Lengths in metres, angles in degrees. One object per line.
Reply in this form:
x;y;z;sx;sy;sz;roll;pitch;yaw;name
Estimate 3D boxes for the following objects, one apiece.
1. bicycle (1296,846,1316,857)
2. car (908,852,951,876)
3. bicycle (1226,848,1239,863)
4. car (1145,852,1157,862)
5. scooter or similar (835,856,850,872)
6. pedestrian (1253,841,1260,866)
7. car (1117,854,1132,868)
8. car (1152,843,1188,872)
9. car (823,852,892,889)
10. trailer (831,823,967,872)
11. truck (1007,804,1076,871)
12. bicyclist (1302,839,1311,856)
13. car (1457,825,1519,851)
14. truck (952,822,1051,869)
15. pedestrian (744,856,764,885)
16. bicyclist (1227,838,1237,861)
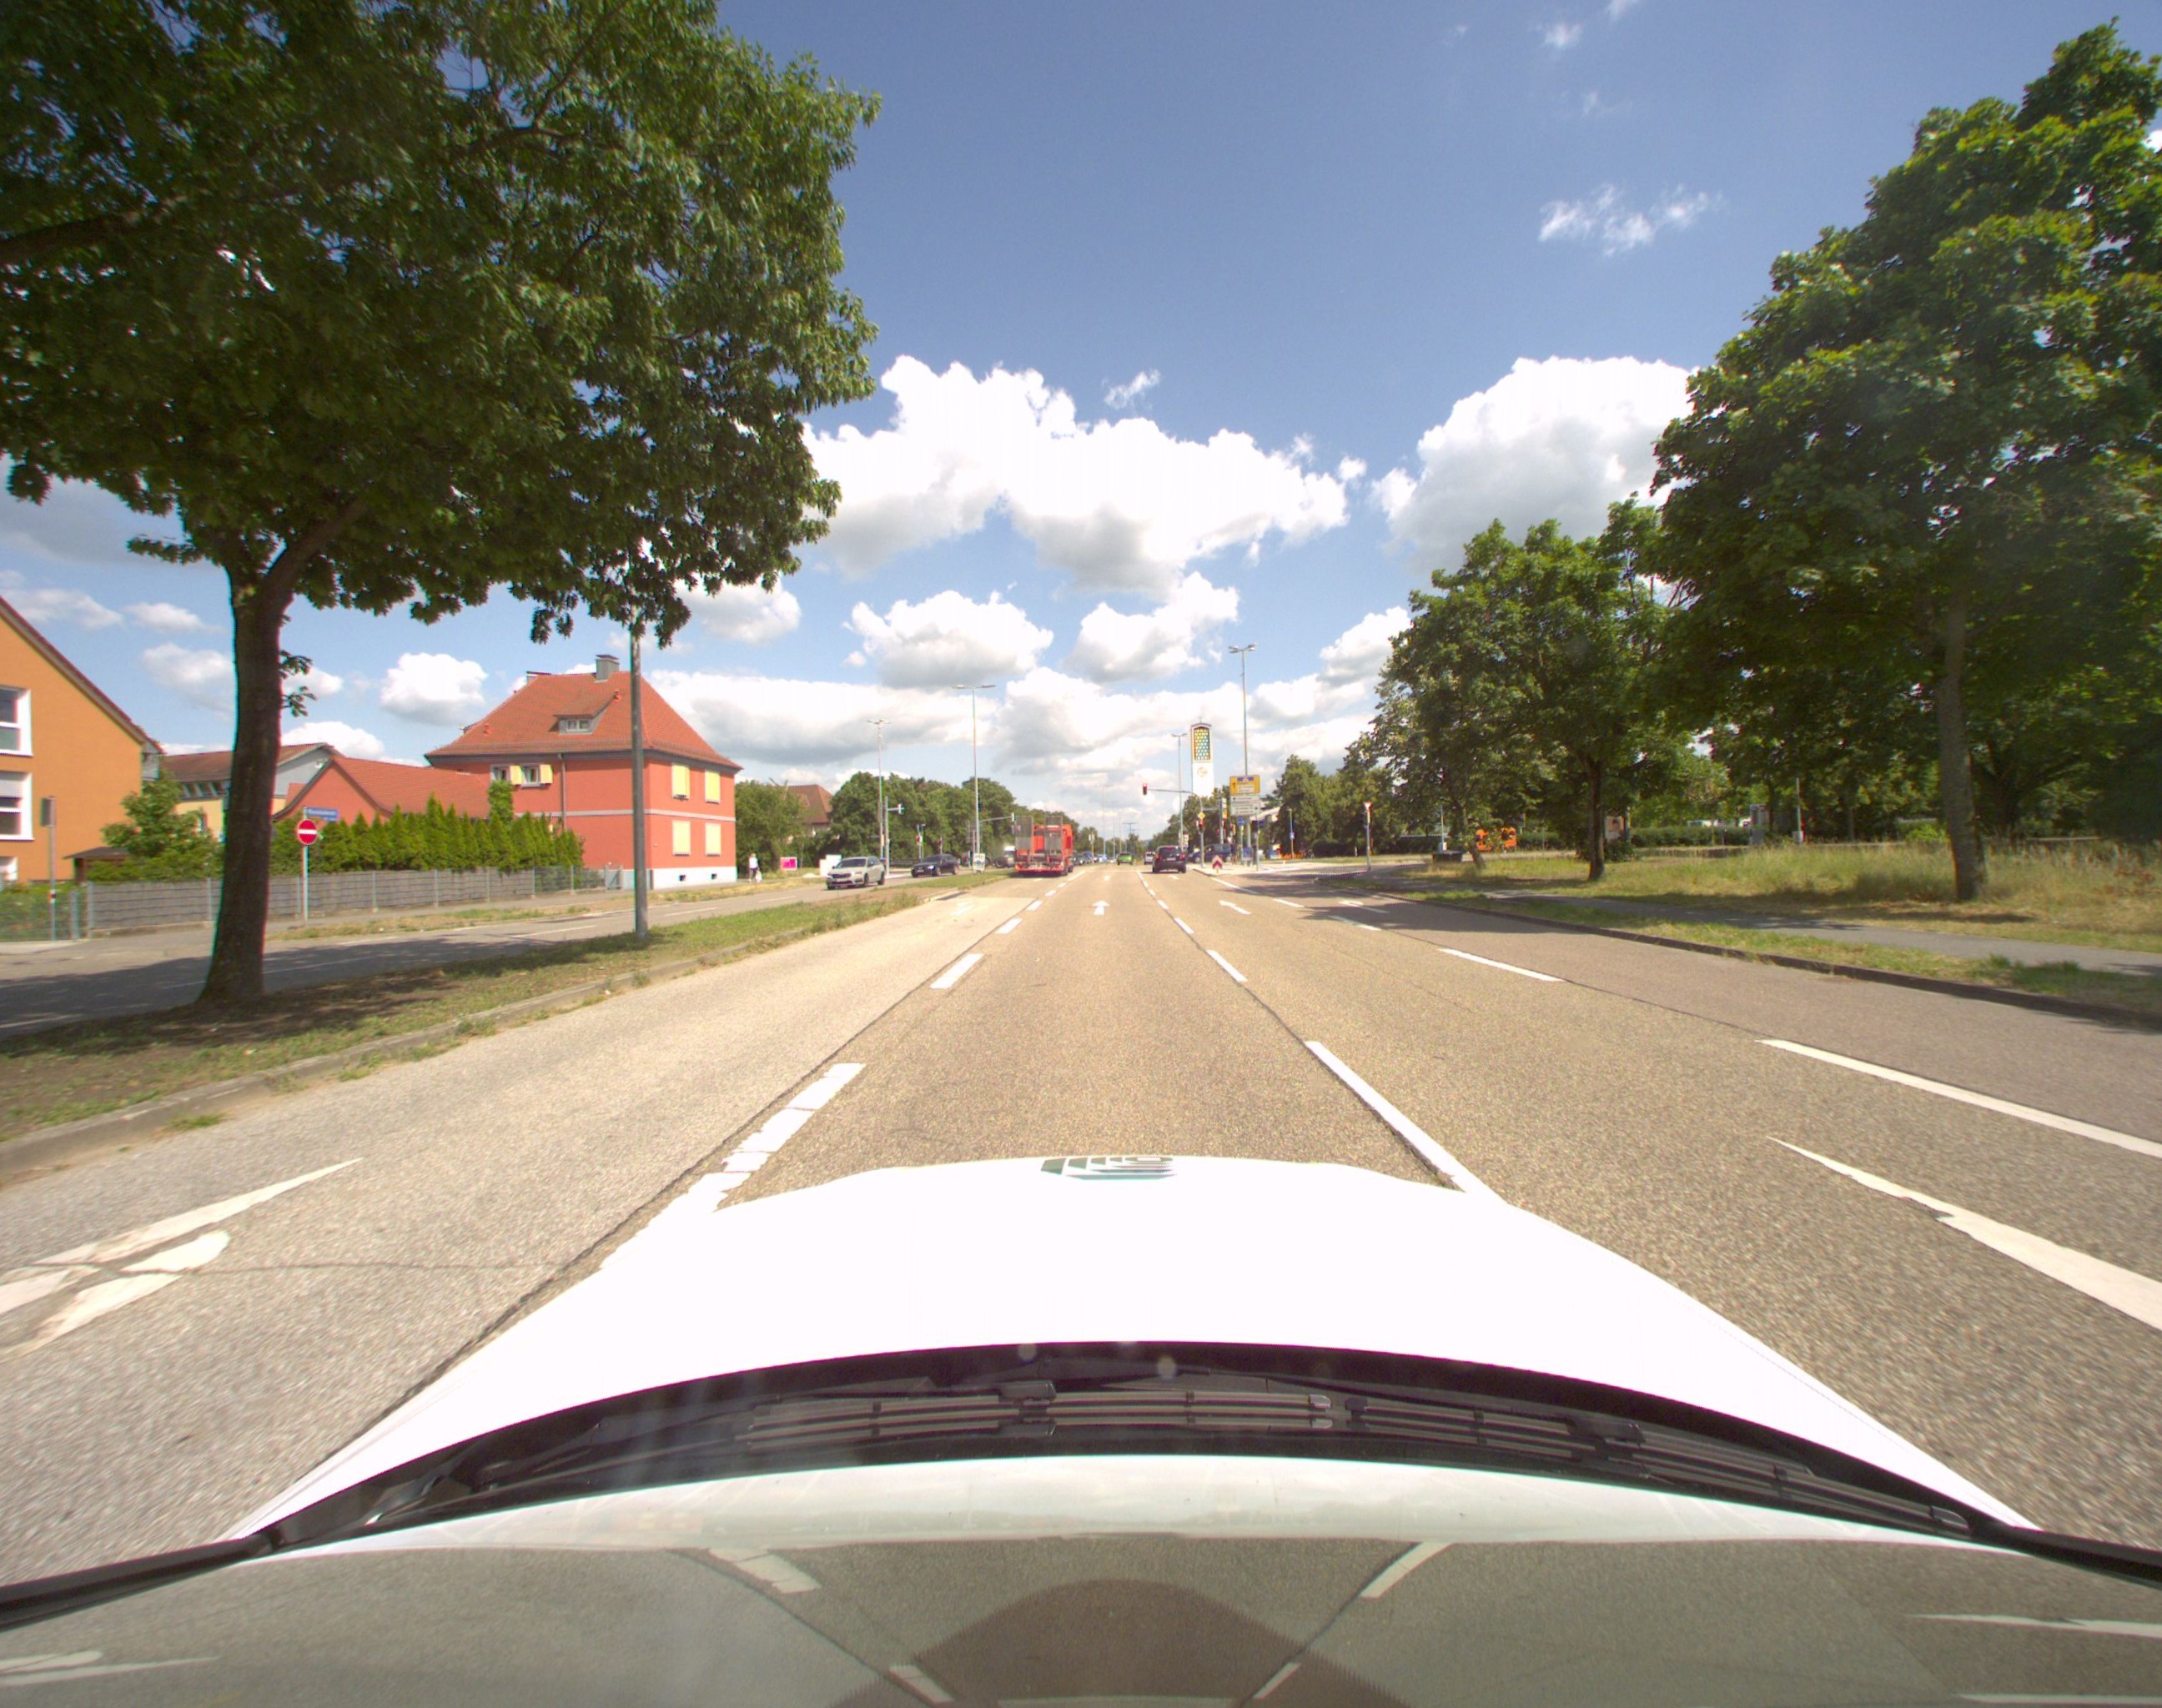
23.812;-0.300;86.206;1.977;1.093;0.690;-1;-1;32;bicycle
-9.973;0.622;53.943;1.765;1.438;4.578;-2;0;2;car
11.097;0.120;59.624;0.643;1.107;1.937;0;-1;18;bicycle
10.535;0.463;122.564;1.652;1.555;4.001;0;-1;2;car
-17.474;0.748;59.704;0.587;1.164;1.762;0;-1;1;scooter or similar
12.708;-0.057;59.040;0.461;1.779;0.484;0;-1;13;pedestrian
5.268;0.878;99.200;1.734;1.669;3.591;0;-1;2;car
5.154;0.213;47.395;1.793;1.552;4.001;0;-1;2;car
-10.496;0.738;38.547;1.726;1.508;4.654;-5;-1;2;car
-16.224;-0.597;73.209;11.222;4.012;3.639;-1;0;6;trailer
-2.041;-0.794;47.102;3.059;3.414;11.072;0;-1;2;truck
23.874;-0.707;86.164;0.779;1.804;0.690;-2;-1;32;bicyclist
36.318;-1.374;72.797;4.803;2.226;2.223;0;-1;20;car
-7.014;-0.750;72.733;8.591;3.971;2.965;-1;-1;-4;truck
-18.023;0.900;44.879;0.693;1.583;0.851;0;-1;1;pedestrian
11.042;-0.294;59.443;0.643;1.661;0.653;0;-1;17;bicyclist
